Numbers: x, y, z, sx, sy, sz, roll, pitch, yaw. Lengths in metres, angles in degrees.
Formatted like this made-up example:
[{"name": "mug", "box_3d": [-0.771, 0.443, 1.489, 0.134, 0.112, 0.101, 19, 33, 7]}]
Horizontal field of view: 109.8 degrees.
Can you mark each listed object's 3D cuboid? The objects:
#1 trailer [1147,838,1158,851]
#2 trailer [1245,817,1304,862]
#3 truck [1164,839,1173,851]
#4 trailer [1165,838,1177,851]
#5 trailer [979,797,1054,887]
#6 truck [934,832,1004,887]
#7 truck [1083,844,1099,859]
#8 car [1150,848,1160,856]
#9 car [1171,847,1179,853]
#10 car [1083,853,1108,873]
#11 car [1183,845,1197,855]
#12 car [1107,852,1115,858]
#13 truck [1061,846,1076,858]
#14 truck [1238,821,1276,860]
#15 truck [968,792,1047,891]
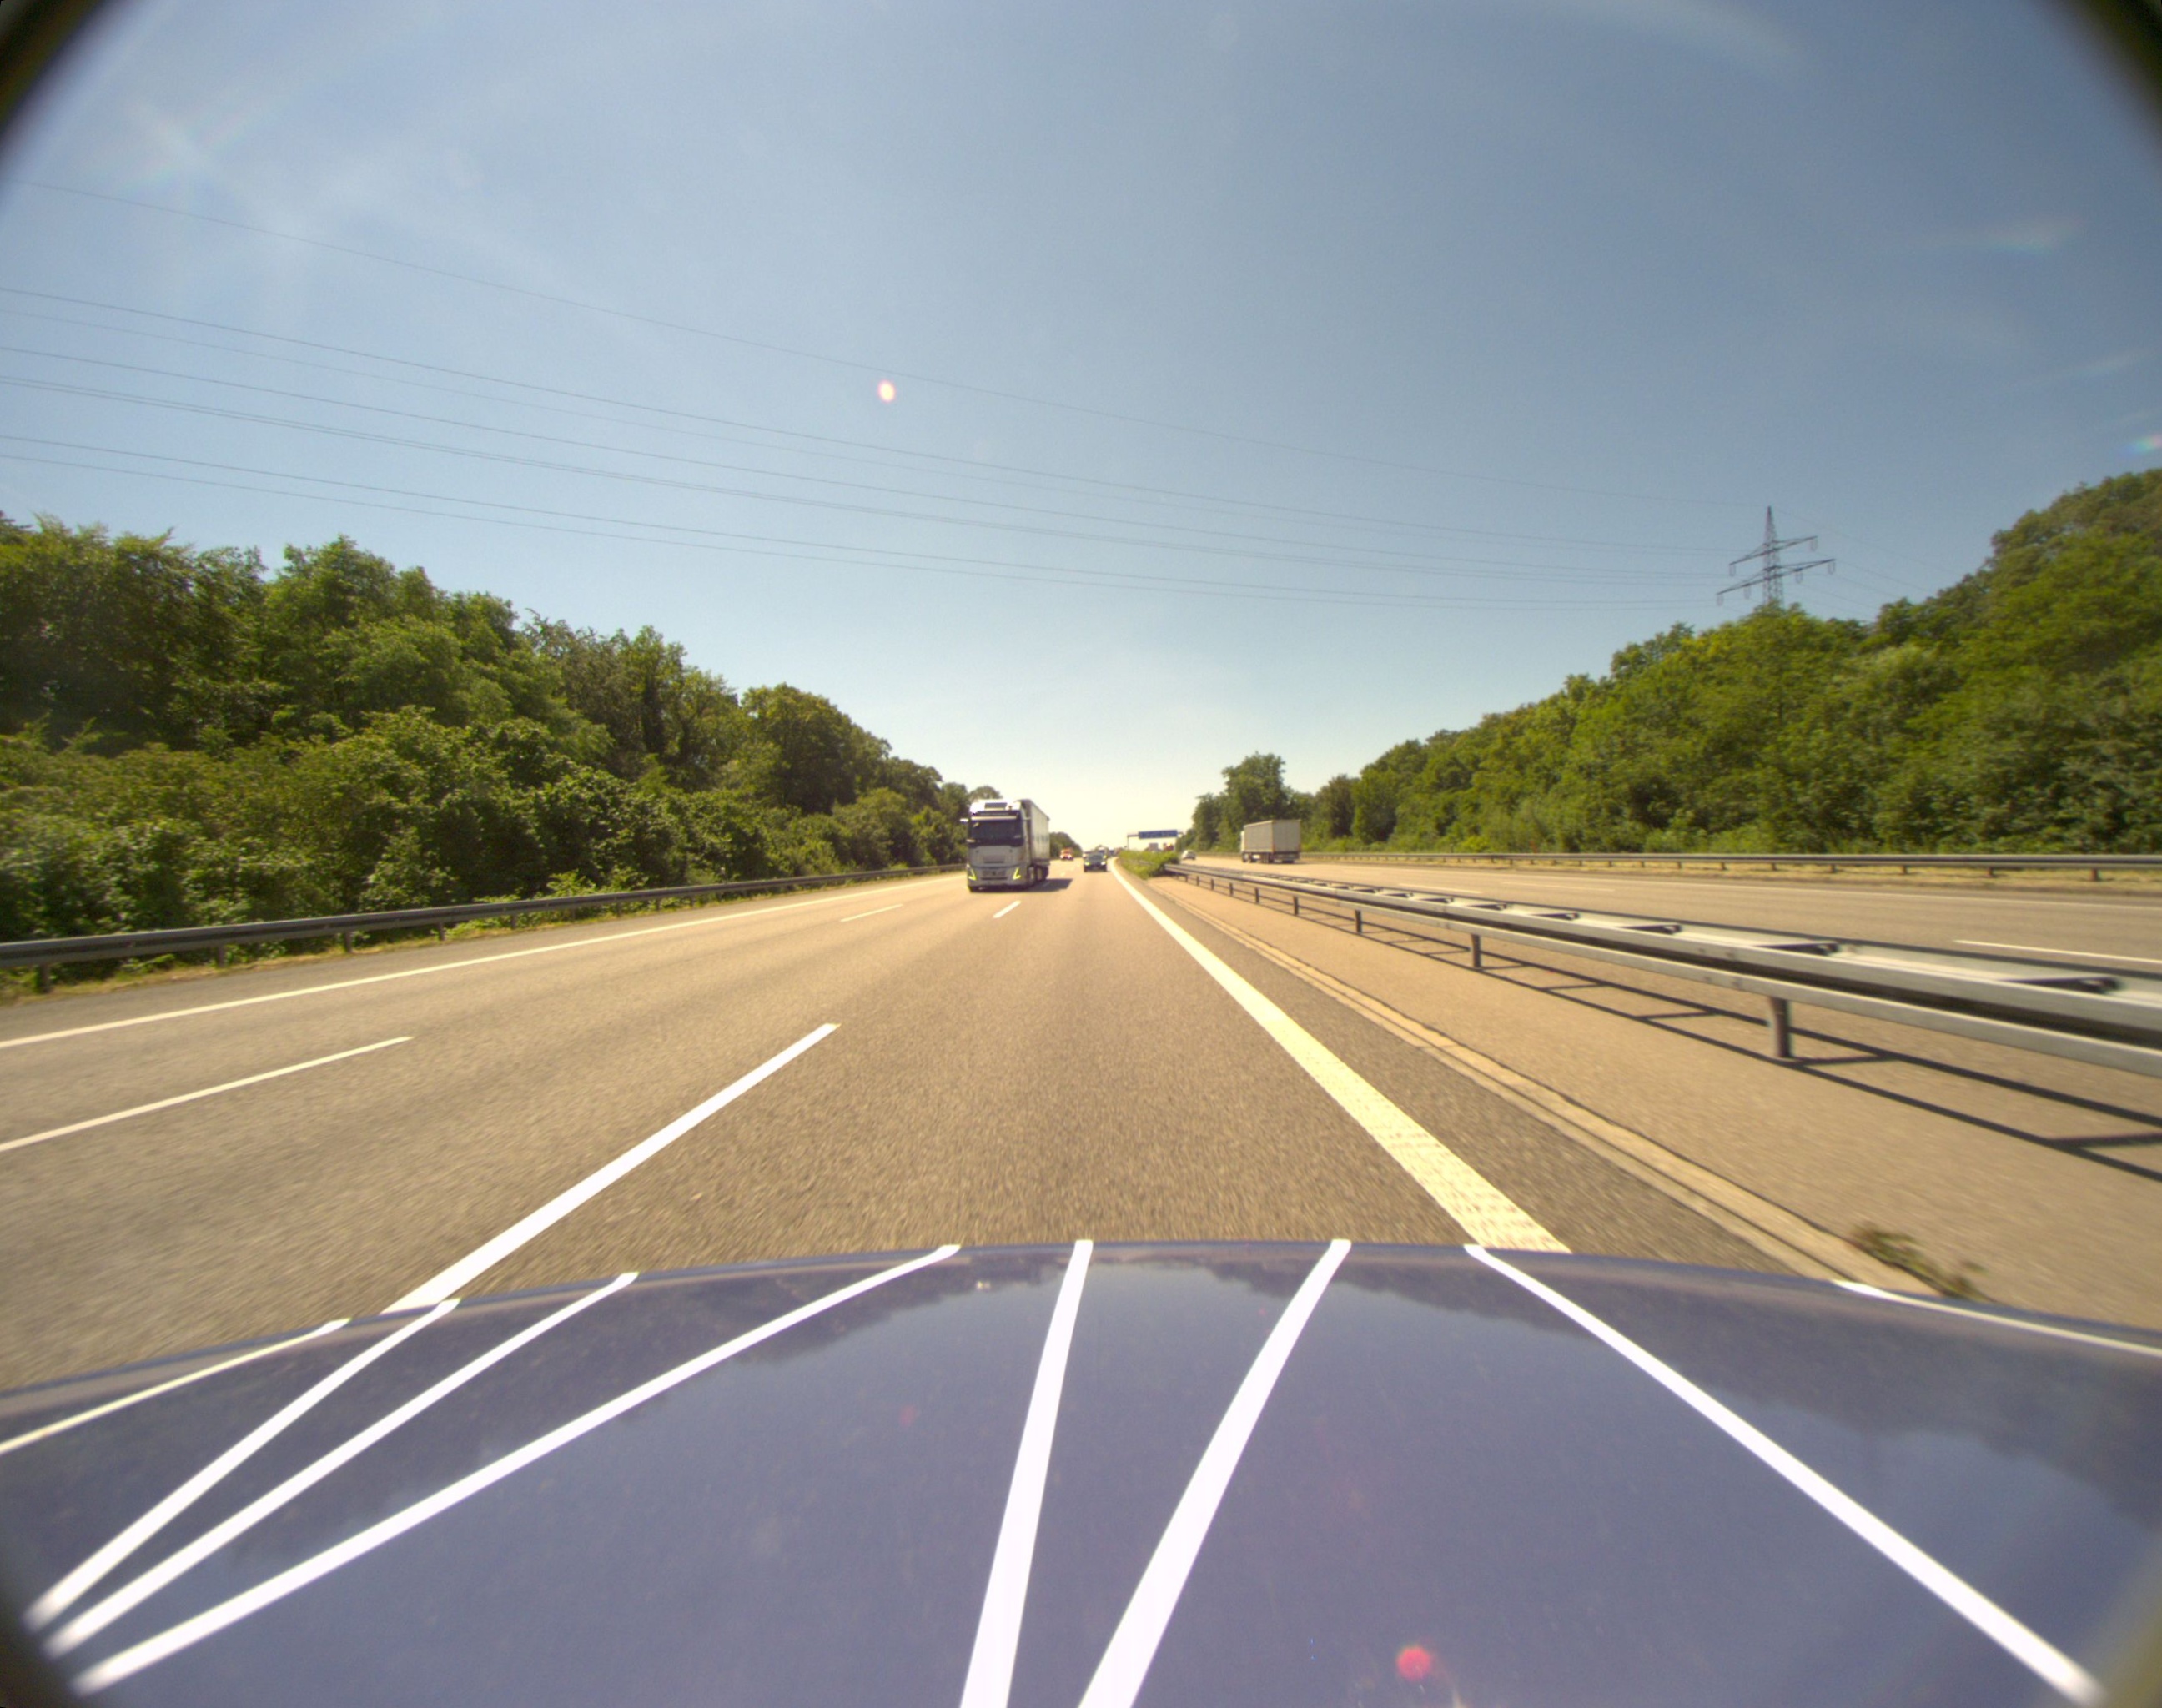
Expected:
[{"name": "trailer", "box_3d": [22.597, -3.060, 239.536, 2.471, 3.913, 14.401, -2, 0, 2]}, {"name": "trailer", "box_3d": [18.839, -1.347, 74.963, 2.677, 3.943, 13.664, -2, 0, 2]}, {"name": "truck", "box_3d": [26.774, -2.766, 231.873, 2.362, 3.581, 4.164, -2, 1, 2]}, {"name": "trailer", "box_3d": [26.490, -2.719, 224.971, 2.377, 3.575, 14.221, -2, 0, 2]}, {"name": "trailer", "box_3d": [-3.150, -0.570, 40.994, 2.747, 3.952, 13.652, -2, 0, 0]}, {"name": "truck", "box_3d": [-8.950, 0.246, 63.033, 3.049, 3.948, 14.452, -2, 1, 2]}, {"name": "truck", "box_3d": [2.294, -0.545, 174.574, 2.858, 3.163, 10.714, -1, 0, 4]}, {"name": "car", "box_3d": [13.276, -0.349, 136.365, 1.669, 1.445, 4.124, -2, 0, 3]}, {"name": "car", "box_3d": [25.496, -1.124, 205.635, 1.725, 1.471, 4.000, -2, 0, 2]}, {"name": "car", "box_3d": [1.143, 0.672, 58.882, 1.800, 1.390, 4.833, -2, 0, 1]}, {"name": "car", "box_3d": [16.784, -0.640, 117.103, 1.669, 1.445, 4.124, -2, 0, 3]}, {"name": "car", "box_3d": [7.844, 0.242, 197.281, 1.879, 1.630, 3.999, -2, 0, -1]}, {"name": "truck", "box_3d": [-2.564, -0.392, 163.000, 2.436, 2.426, 10.011, -2, 0, 3]}, {"name": "truck", "box_3d": [19.068, -1.407, 82.621, 2.667, 3.962, 6.554, -2, 0, 1]}, {"name": "truck", "box_3d": [-3.168, -0.532, 34.318, 2.729, 3.952, 6.501, -2, 0, 1]}]
